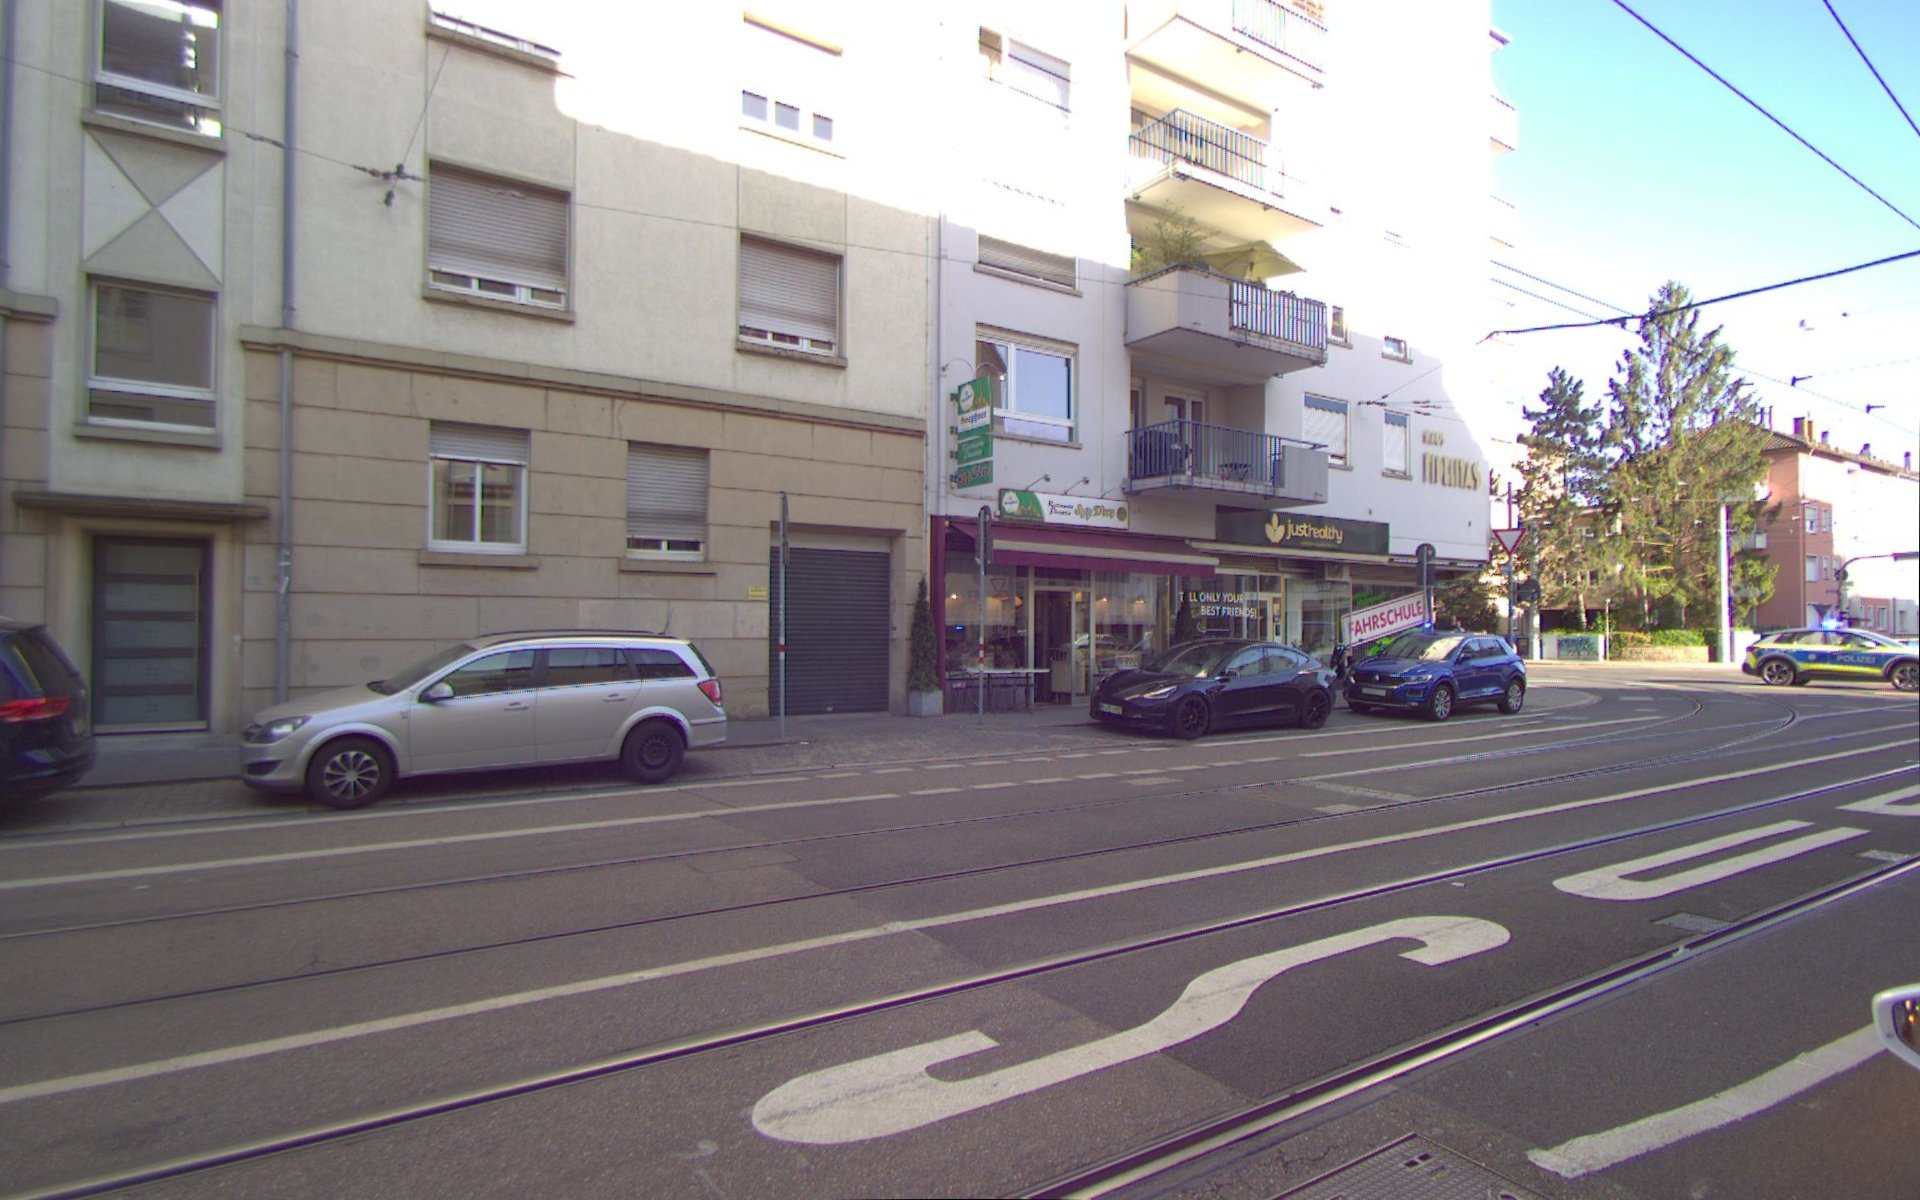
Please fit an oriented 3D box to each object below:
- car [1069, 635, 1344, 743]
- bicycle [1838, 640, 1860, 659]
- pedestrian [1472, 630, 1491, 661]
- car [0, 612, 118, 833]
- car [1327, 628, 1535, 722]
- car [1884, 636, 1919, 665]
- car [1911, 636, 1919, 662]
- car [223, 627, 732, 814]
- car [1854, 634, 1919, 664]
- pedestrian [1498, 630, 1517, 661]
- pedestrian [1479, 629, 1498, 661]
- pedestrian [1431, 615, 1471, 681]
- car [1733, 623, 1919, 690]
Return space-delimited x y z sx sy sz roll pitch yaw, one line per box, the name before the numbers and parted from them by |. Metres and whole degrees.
car | 4.005 1.317 16.032 4.442 1.422 1.714 1 1 -34
bicycle | 53.149 2.941 60.018 1.892 1.097 0.605 1 -2 -37
pedestrian | 28.814 2.517 55.488 0.798 1.725 0.632 -1 -2 37
car | -9.001 0.882 7.181 4.343 1.620 1.785 1 -1 -34
car | 8.985 1.347 19.075 4.072 1.525 1.714 1 1 -34
car | 54.266 2.843 57.005 4.006 1.539 1.938 1 -2 -36
car | 58.120 2.900 59.444 3.961 1.539 1.938 1 -2 -36
car | -4.713 1.051 10.203 4.343 1.497 1.785 1 -1 -34
car | 49.717 2.619 53.775 3.961 1.539 1.938 1 -2 -36
pedestrian | 31.483 2.615 57.721 0.800 1.725 0.676 -1 -2 44
pedestrian | 28.702 2.414 54.551 0.798 1.725 0.604 -1 -2 37
pedestrian | 14.004 1.355 28.662 0.707 1.859 0.771 0 -1 -3
car | 24.108 1.489 27.371 1.774 1.706 4.507 1 -2 -34
